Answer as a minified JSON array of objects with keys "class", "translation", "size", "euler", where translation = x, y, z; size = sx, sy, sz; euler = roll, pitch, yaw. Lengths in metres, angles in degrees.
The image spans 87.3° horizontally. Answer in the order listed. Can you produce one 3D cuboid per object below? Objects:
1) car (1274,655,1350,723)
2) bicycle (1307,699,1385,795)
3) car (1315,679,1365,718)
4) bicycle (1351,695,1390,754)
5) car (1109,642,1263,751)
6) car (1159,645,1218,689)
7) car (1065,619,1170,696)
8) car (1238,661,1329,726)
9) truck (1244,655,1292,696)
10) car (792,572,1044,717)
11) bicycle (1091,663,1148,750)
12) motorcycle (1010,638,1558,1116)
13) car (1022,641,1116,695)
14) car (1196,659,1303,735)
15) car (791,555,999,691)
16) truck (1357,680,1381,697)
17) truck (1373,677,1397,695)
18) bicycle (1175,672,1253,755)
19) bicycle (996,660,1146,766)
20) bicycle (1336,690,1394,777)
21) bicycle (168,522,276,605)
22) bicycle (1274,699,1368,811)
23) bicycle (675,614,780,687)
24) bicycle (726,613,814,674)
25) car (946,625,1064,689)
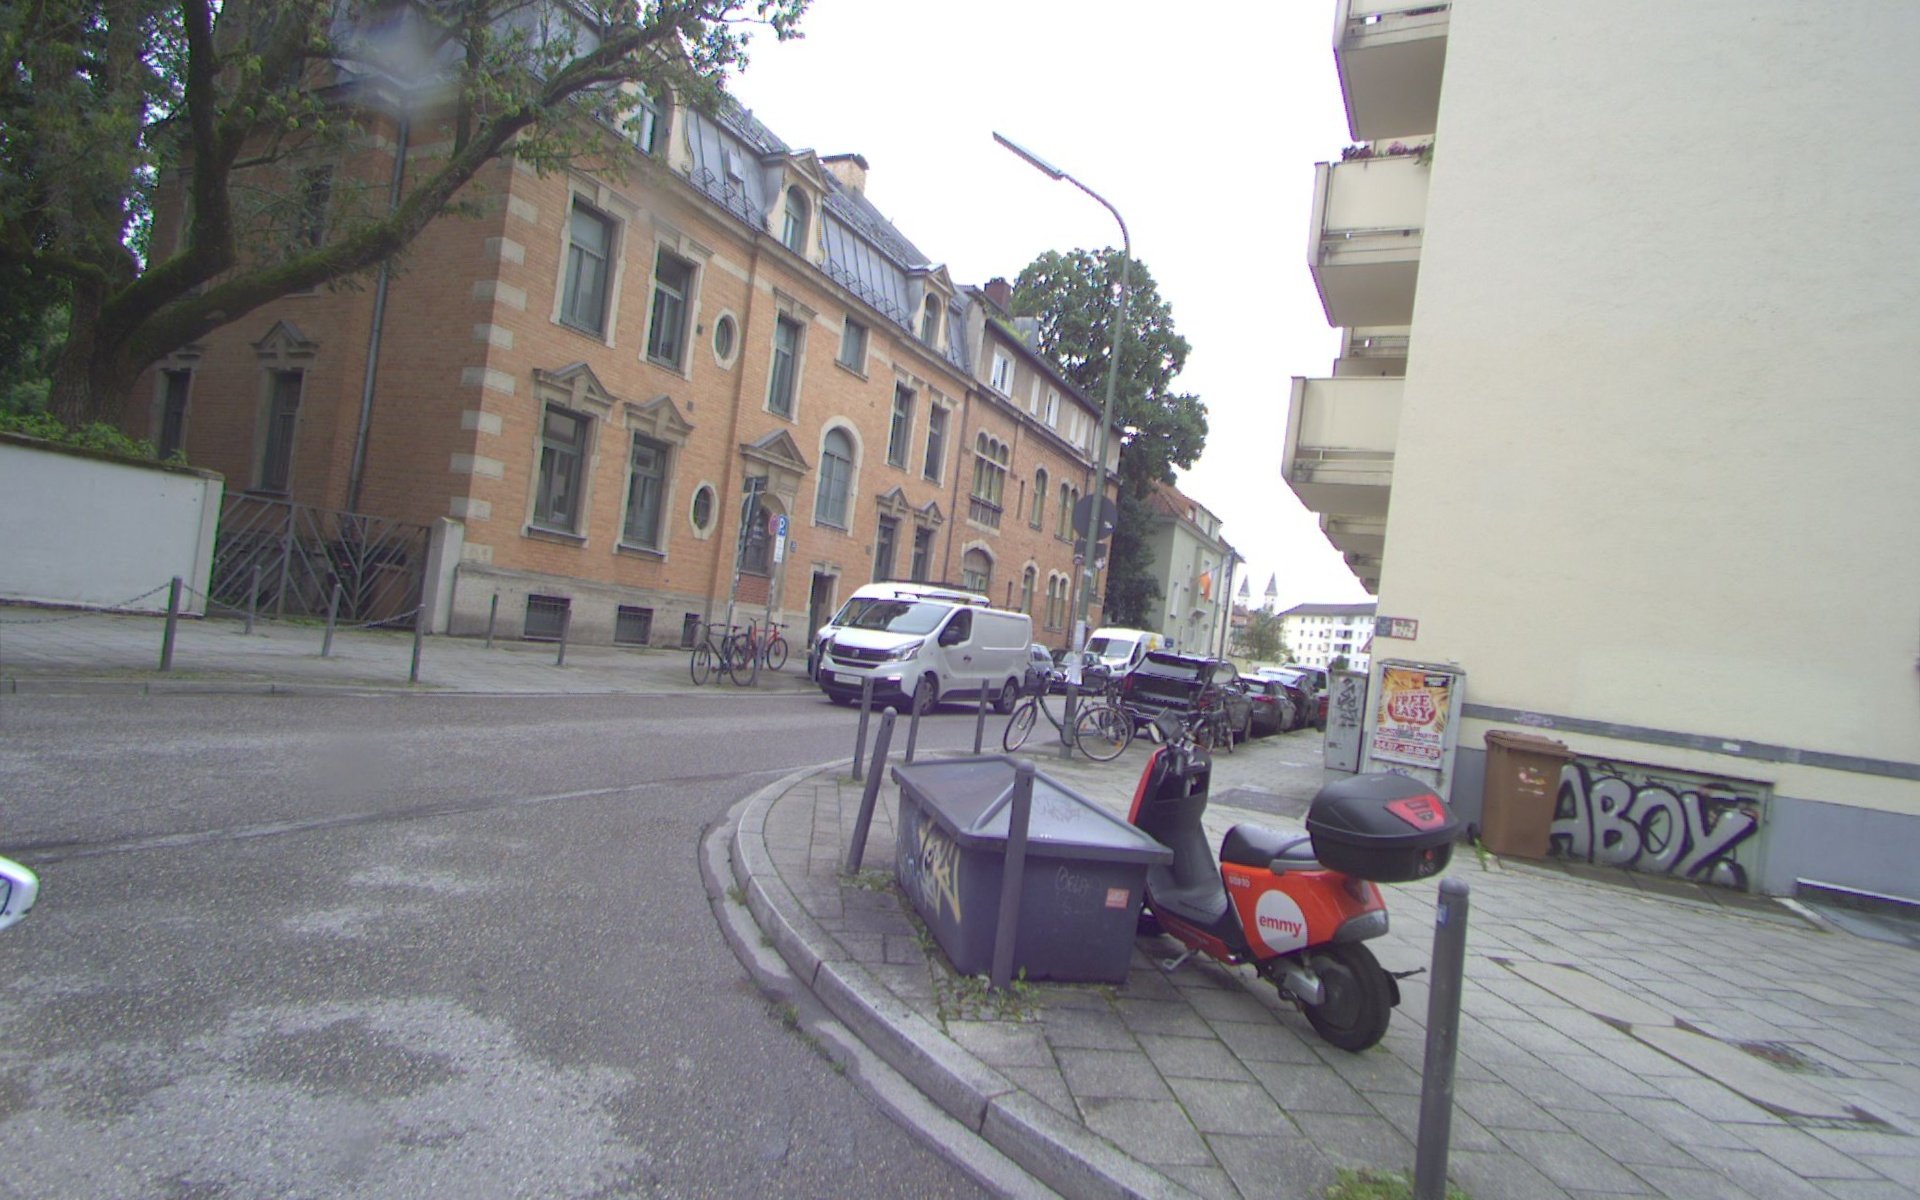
[{"class":"car","translation":[12.346,3.131,35.091],"size":[1.842,1.990,4.817],"euler":[6,-2,25]},{"class":"bicycle","translation":[4.959,1.845,12.858],"size":[0.571,1.066,1.761],"euler":[6,-2,30]},{"class":"car","translation":[16.804,4.364,44.418],"size":[1.585,1.450,3.619],"euler":[6,-2,26]},{"class":"bicycle","translation":[8.263,2.483,20.298],"size":[0.571,1.066,1.764],"euler":[7,-2,21]},{"class":"car","translation":[4.547,1.878,19.668],"size":[1.823,1.657,4.550],"euler":[6,-2,26]},{"class":"car","translation":[10.962,3.238,48.081],"size":[1.794,1.730,4.001],"euler":[7,-2,24]},{"class":"car","translation":[5.943,2.200,37.299],"size":[2.106,2.376,5.369],"euler":[6,-2,27]},{"class":"car","translation":[9.727,2.793,29.990],"size":[1.832,1.569,4.754],"euler":[6,-2,25]},{"class":"truck","translation":[20.867,5.128,68.009],"size":[1.965,2.345,5.408],"euler":[6,-2,27]},{"class":"car","translation":[-0.544,0.895,18.126],"size":[2.012,2.065,4.952],"euler":[7,-1,30]},{"class":"bicycle","translation":[2.437,1.576,15.217],"size":[0.570,1.167,1.966],"euler":[7,-2,14]},{"class":"motorcycle","translation":[1.186,0.955,4.258],"size":[0.809,1.371,2.069],"euler":[8,-2,-30]},{"class":"car","translation":[3.590,2.231,32.547],"size":[1.674,1.448,3.829],"euler":[6,-3,27]},{"class":"car","translation":[7.340,2.419,25.230],"size":[1.702,1.476,4.416],"euler":[8,-1,26]},{"class":"car","translation":[-1.245,0.653,22.495],"size":[1.964,2.496,5.470],"euler":[5,-3,26]},{"class":"truck","translation":[70.490,15.265,173.551],"size":[2.580,2.327,5.446],"euler":[8,-1,12]},{"class":"truck","translation":[64.256,12.939,152.132],"size":[2.190,2.328,5.295],"euler":[4,-2,12]},{"class":"bicycle","translation":[4.074,1.799,16.010],"size":[0.571,1.167,1.961],"euler":[6,-2,30]},{"class":"bicycle","translation":[1.403,1.423,12.866],"size":[1.729,1.078,0.777],"euler":[7,-1,4]},{"class":"bicycle","translation":[6.439,2.086,16.066],"size":[0.677,1.220,1.764],"euler":[7,-2,21]},{"class":"bicycle","translation":[-12.917,-0.649,17.588],"size":[2.046,1.233,0.536],"euler":[6,-1,26]},{"class":"bicycle","translation":[4.029,1.679,11.147],"size":[0.571,1.066,1.761],"euler":[6,-2,30]},{"class":"bicycle","translation":[-3.906,0.875,17.039],"size":[0.571,1.066,1.761],"euler":[6,-2,30]},{"class":"bicycle","translation":[-3.893,0.917,20.748],"size":[0.571,1.066,1.893],"euler":[8,-2,30]},{"class":"car","translation":[1.319,1.611,27.659],"size":[1.665,1.471,3.996],"euler":[4,-3,26]}]
